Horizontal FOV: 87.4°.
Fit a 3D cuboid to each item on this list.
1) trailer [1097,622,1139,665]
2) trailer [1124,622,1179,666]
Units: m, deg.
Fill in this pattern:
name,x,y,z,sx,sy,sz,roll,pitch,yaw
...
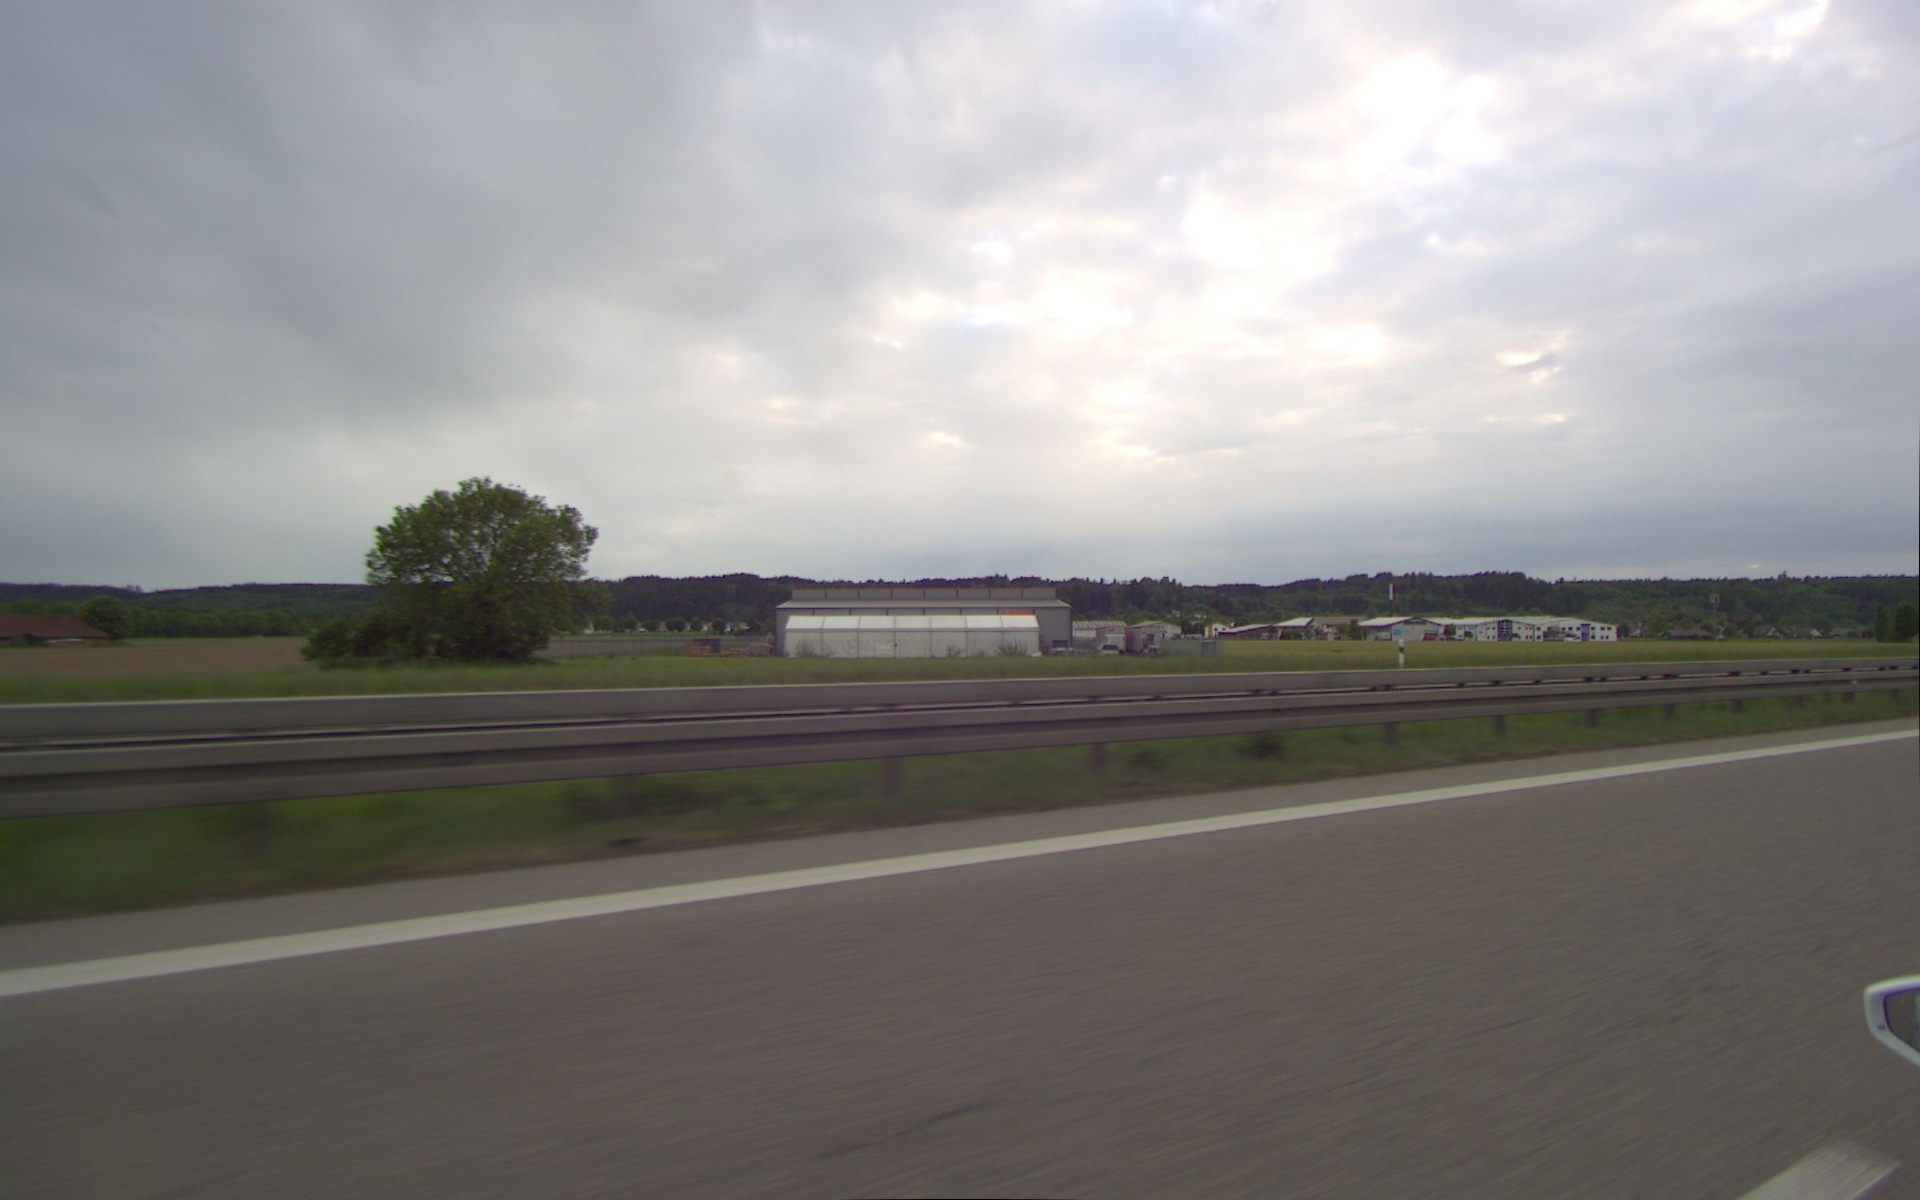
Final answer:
name,x,y,z,sx,sy,sz,roll,pitch,yaw
trailer,20.424,5.671,130.563,3.681,5.328,10.084,1,-3,-1
trailer,24.202,5.709,128.350,3.499,5.202,17.039,1,-3,-1
